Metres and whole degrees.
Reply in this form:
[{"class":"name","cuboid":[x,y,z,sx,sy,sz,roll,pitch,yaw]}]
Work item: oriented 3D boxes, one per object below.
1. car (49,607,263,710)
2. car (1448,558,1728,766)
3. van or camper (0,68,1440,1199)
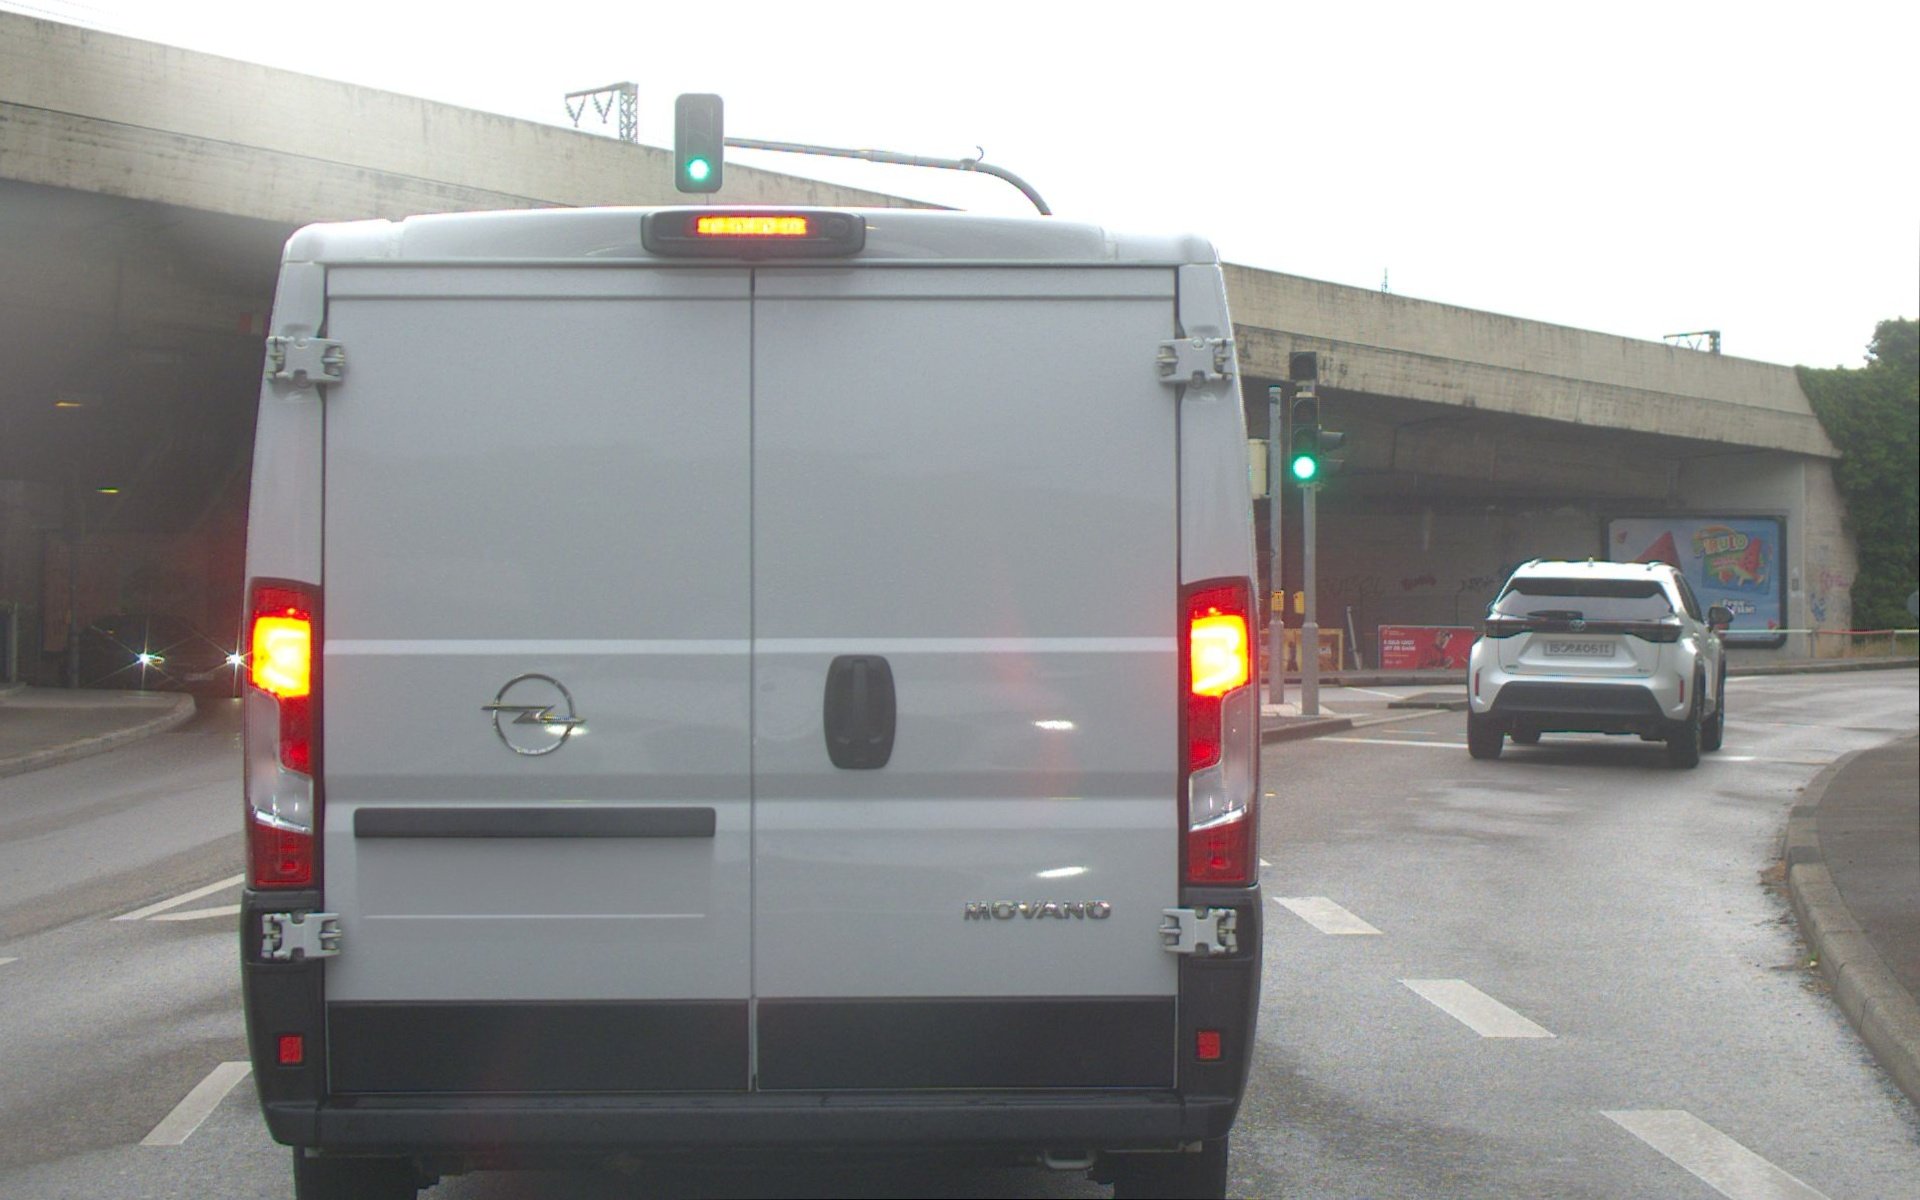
[{"class":"car","cuboid":[-13.143,0.929,56.019,1.993,1.525,4.500,0,1,-33]},{"class":"car","cuboid":[5.092,0.441,27.498,1.877,1.525,3.997,0,0,15]},{"class":"van or camper","cuboid":[-0.554,0.202,8.920,2.698,2.408,4.904,0,0,-3]}]
